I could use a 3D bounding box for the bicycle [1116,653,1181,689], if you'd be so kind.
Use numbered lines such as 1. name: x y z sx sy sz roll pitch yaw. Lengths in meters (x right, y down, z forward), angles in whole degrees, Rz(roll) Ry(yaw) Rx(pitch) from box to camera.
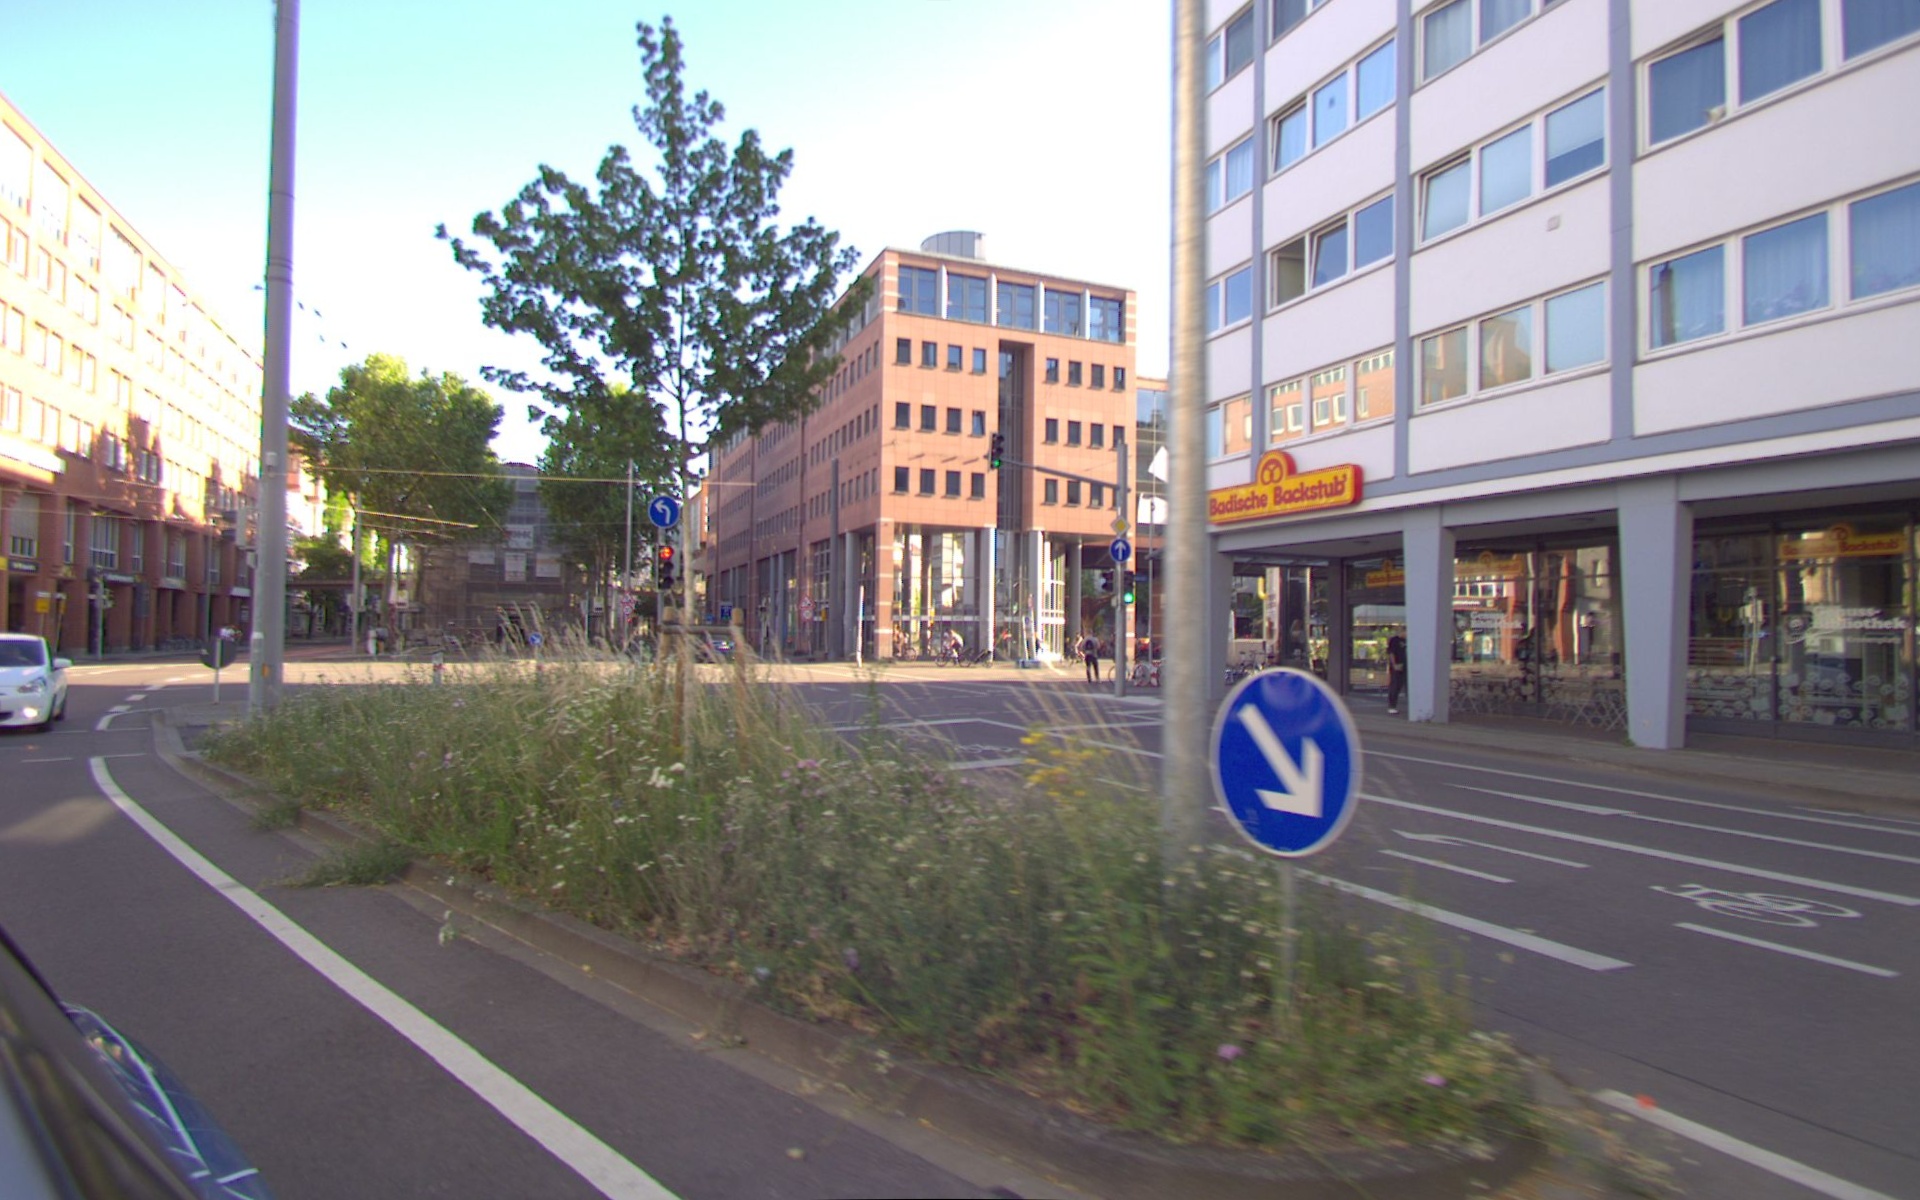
1. bicycle: 5.924 2.220 31.869 2.006 1.061 0.588 -2 -3 42

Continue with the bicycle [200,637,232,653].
1. bicycle: -51.268 3.106 69.736 1.589 0.962 0.557 4 -3 -21

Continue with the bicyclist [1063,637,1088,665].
1. bicyclist: 5.685 2.515 49.861 1.004 1.350 0.782 1 -2 -25

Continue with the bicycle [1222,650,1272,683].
1. bicycle: 9.655 2.229 34.140 0.586 1.061 2.012 1 -2 -19

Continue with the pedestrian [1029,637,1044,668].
1. pedestrian: 3.873 2.652 51.251 0.482 1.548 0.564 2 -3 -40

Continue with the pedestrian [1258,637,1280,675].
1. pedestrian: 13.985 2.520 45.838 0.899 1.678 0.880 0 -2 13

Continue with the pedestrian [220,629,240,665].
1. pedestrian: -35.712 2.305 49.505 0.624 1.738 0.632 1 -2 -23

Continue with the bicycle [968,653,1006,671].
1. bicycle: 1.282 2.922 47.866 0.617 0.814 1.989 -2 -2 44

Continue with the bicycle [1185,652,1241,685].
1. bicycle: 8.524 2.294 34.163 0.586 1.061 2.012 2 -3 -31

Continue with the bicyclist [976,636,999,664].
1. bicyclist: 1.292 2.359 47.891 0.617 1.322 0.943 -2 -3 45

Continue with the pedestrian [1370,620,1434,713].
1. pedestrian: 8.439 1.246 19.328 0.793 1.737 0.779 1 -2 -22

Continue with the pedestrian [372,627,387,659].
1. pedestrian: -30.763 2.282 53.626 0.558 1.692 0.532 1 -2 -21

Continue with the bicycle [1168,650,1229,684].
1. bicycle: 7.839 2.182 33.313 0.587 1.061 2.009 2 -3 -40

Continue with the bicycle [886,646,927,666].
1. bicycle: -2.642 2.760 49.926 1.940 0.919 0.582 0 -2 5

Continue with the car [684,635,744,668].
1. car: -11.604 2.388 47.563 1.807 1.396 4.611 2 -2 -26

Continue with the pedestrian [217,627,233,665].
1. pedestrian: -35.444 2.210 48.774 0.469 1.806 0.543 1 -2 -23

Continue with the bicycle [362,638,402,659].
1. bicycle: -30.845 2.607 54.040 1.803 1.087 0.482 1 -2 -21

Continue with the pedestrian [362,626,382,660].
1. pedestrian: -30.705 2.235 52.847 0.766 1.747 0.851 2 -2 -26

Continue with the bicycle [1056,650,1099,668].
1. bicycle: 5.805 2.899 49.901 1.984 0.814 0.782 1 -2 -25

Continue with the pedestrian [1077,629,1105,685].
1. pedestrian: 4.291 1.871 33.237 0.619 1.805 0.787 1 -2 -22

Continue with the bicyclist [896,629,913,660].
1. bicyclist: -2.725 2.203 49.957 0.740 1.496 0.582 0 -2 5

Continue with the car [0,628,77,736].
1. car: -15.161 1.200 15.861 1.781 1.512 4.208 2 -2 -39

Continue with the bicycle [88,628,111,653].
1. bicycle: -45.018 2.120 52.940 0.335 1.265 1.715 1 -2 -21
